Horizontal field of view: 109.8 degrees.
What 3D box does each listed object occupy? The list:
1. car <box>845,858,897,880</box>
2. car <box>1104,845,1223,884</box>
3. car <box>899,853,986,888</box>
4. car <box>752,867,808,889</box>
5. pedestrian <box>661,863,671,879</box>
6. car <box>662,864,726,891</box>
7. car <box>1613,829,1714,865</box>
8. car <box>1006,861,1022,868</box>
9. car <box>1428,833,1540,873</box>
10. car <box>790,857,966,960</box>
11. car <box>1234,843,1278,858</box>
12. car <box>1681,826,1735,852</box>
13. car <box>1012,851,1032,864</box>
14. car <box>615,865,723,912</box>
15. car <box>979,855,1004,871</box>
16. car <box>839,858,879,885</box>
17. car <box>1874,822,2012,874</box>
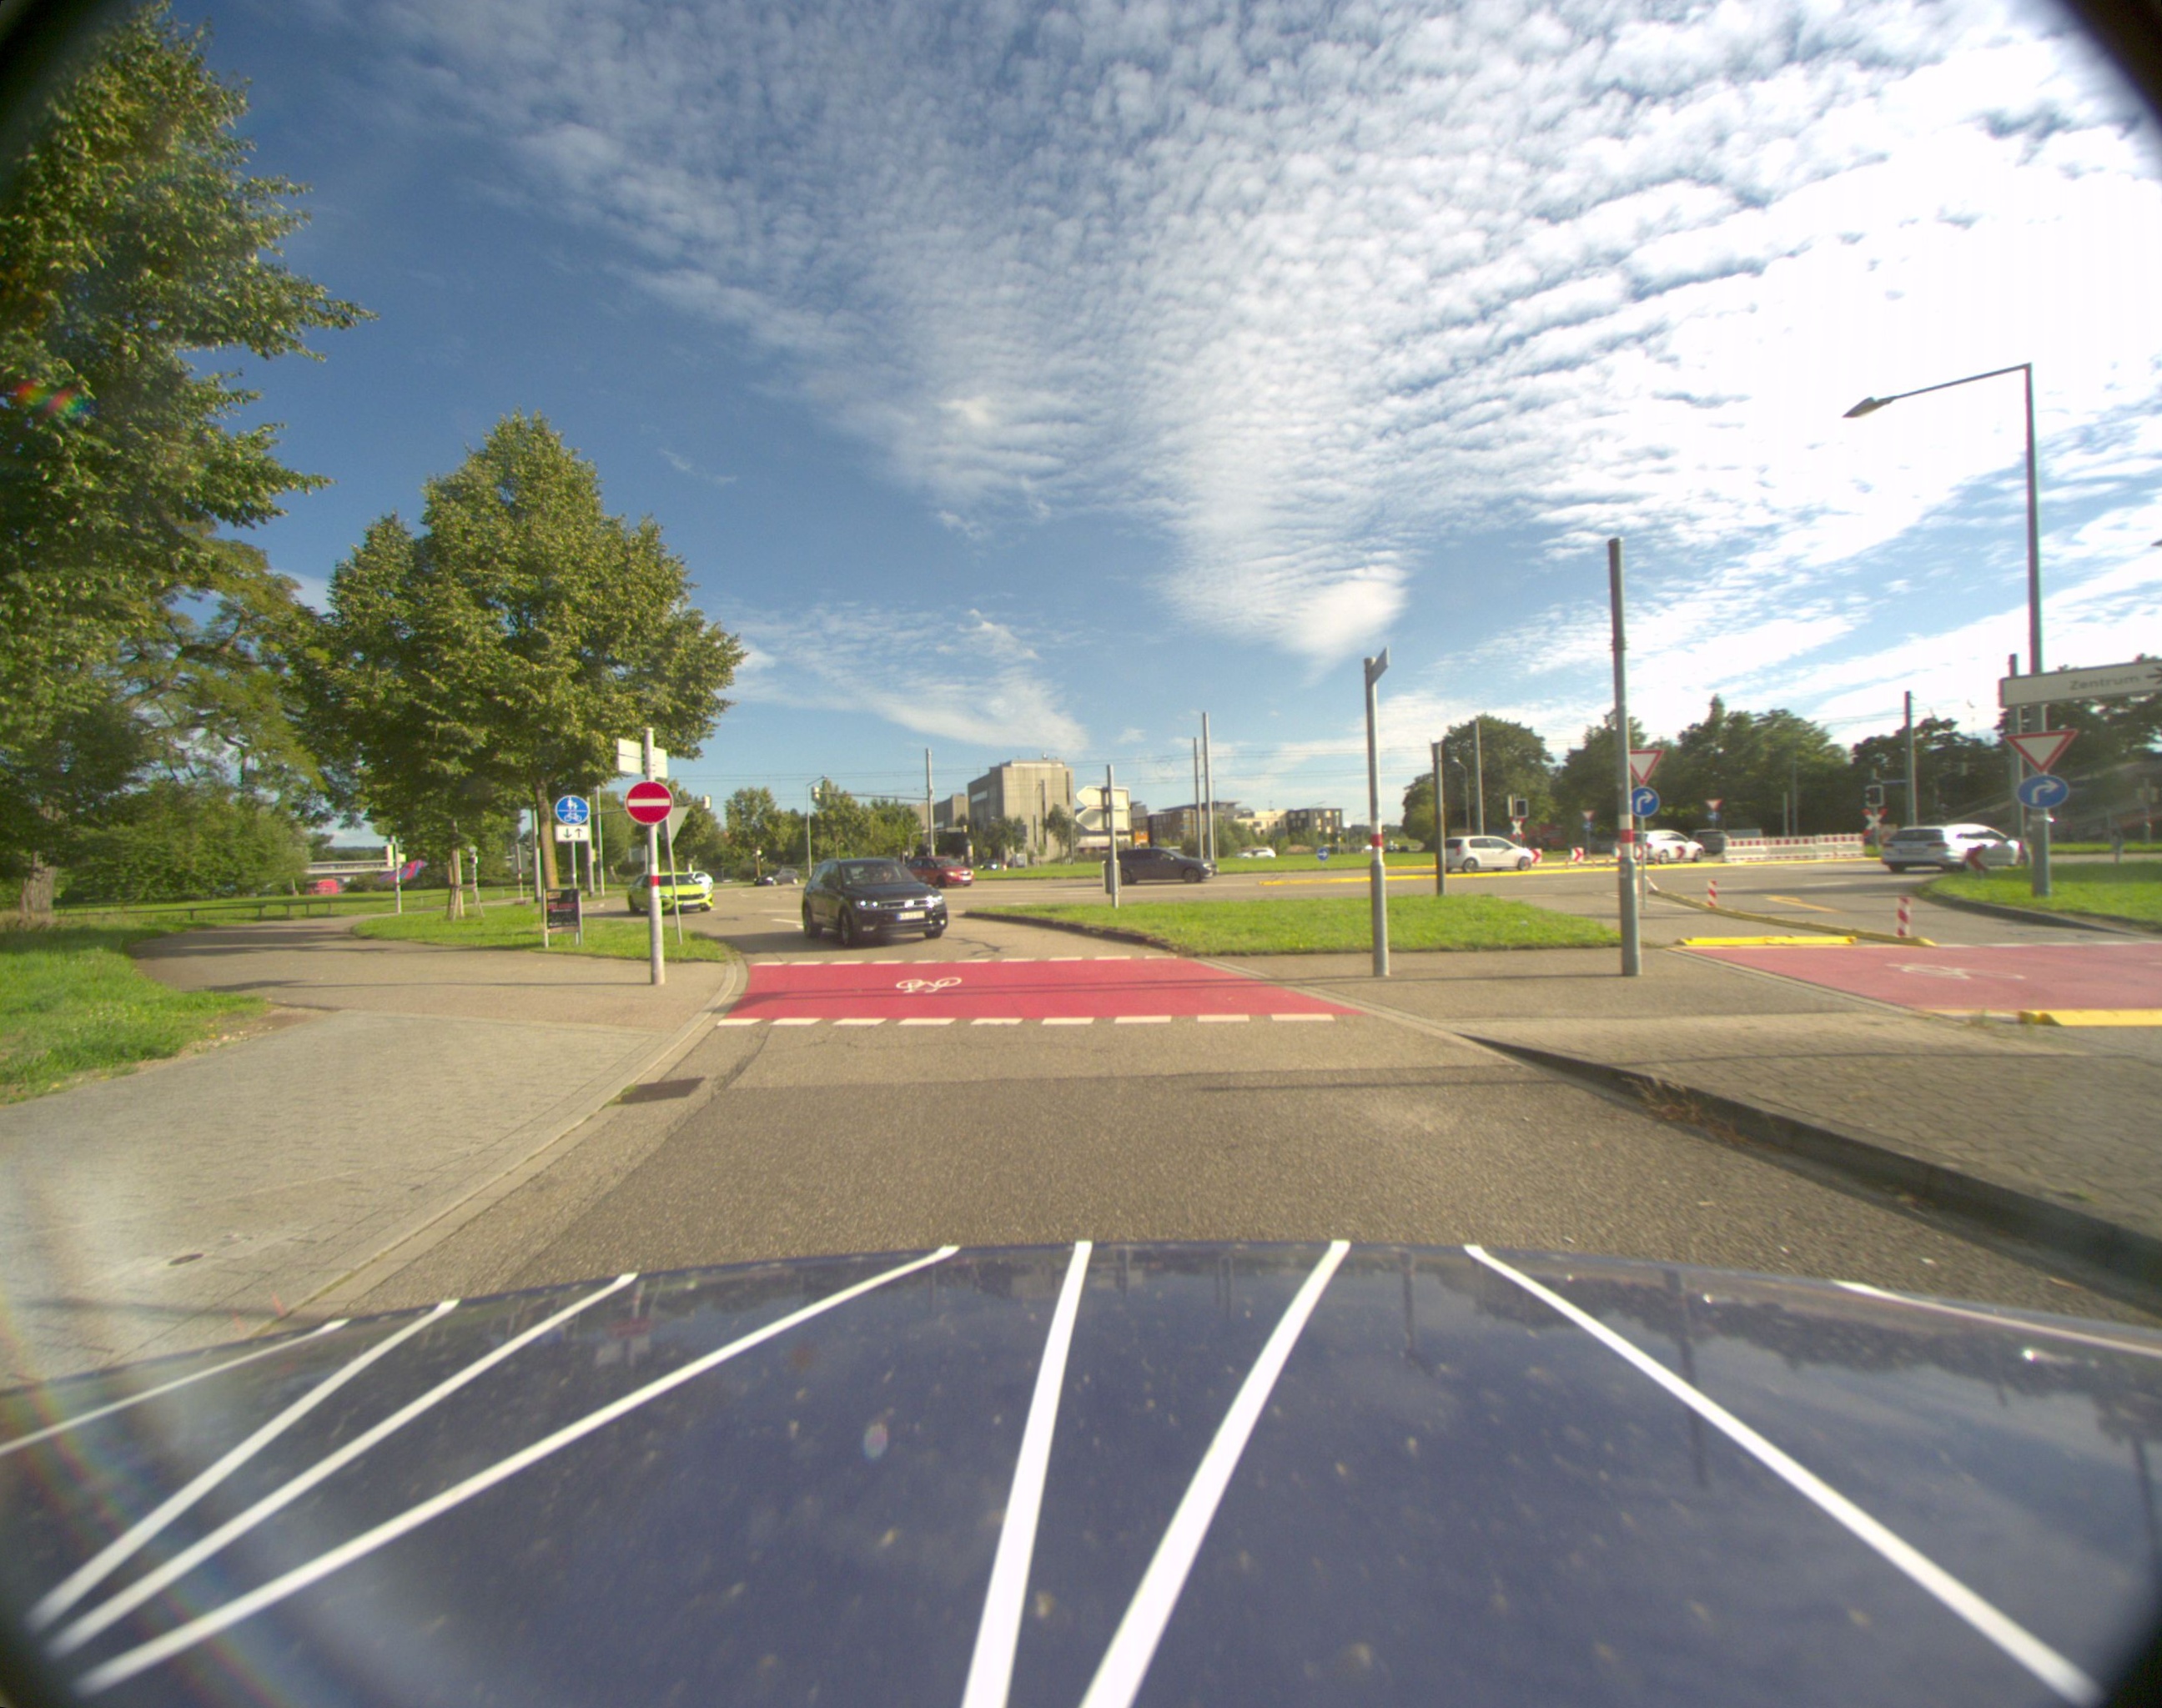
[{"bbox_3d":[-17.653,1.237,64.178,1.996,1.652,4.808,-2,1,15],"label":"car"},{"bbox_3d":[3.347,0.426,30.693,4.437,1.412,1.827,-2,1,21],"label":"car"},{"bbox_3d":[-6.533,0.799,35.680,4.215,1.466,1.698,-3,1,41],"label":"car"},{"bbox_3d":[-25.881,2.019,65.542,1.996,1.652,4.808,-2,0,15],"label":"car"},{"bbox_3d":[-43.856,1.781,80.366,0.596,1.722,0.668,-2,1,7],"label":"pedestrian"},{"bbox_3d":[-27.341,1.620,53.916,1.998,1.652,4.803,-2,0,0],"label":"car"},{"bbox_3d":[25.869,-0.347,33.713,4.645,1.437,1.852,-2,2,-29],"label":"car"},{"bbox_3d":[-11.500,1.803,130.146,1.687,1.257,3.988,0,-1,-21],"label":"car"},{"bbox_3d":[16.190,-0.068,30.622,3.659,1.456,1.765,-2,1,-8],"label":"car"},{"bbox_3d":[-4.312,0.967,15.476,1.876,1.685,5.003,-3,1,-34],"label":"car"},{"bbox_3d":[19.956,-0.368,86.586,4.423,1.567,1.893,-2,1,-8],"label":"car"},{"bbox_3d":[36.799,-0.896,44.678,1.832,1.423,4.007,-2,1,31],"label":"car"},{"bbox_3d":[-10.698,0.672,136.929,2.068,2.250,6.015,0,-1,-19],"label":"car"},{"bbox_3d":[-14.705,1.199,26.986,4.595,1.412,1.900,-2,2,43],"label":"car"},{"bbox_3d":[-9.590,0.932,81.321,2.001,1.652,4.797,-3,1,-14],"label":"car"},{"bbox_3d":[-12.887,0.978,44.362,1.695,1.466,4.223,-2,0,-9],"label":"car"},{"bbox_3d":[27.279,-0.200,24.021,4.548,1.444,1.820,-3,1,-28],"label":"car"}]
